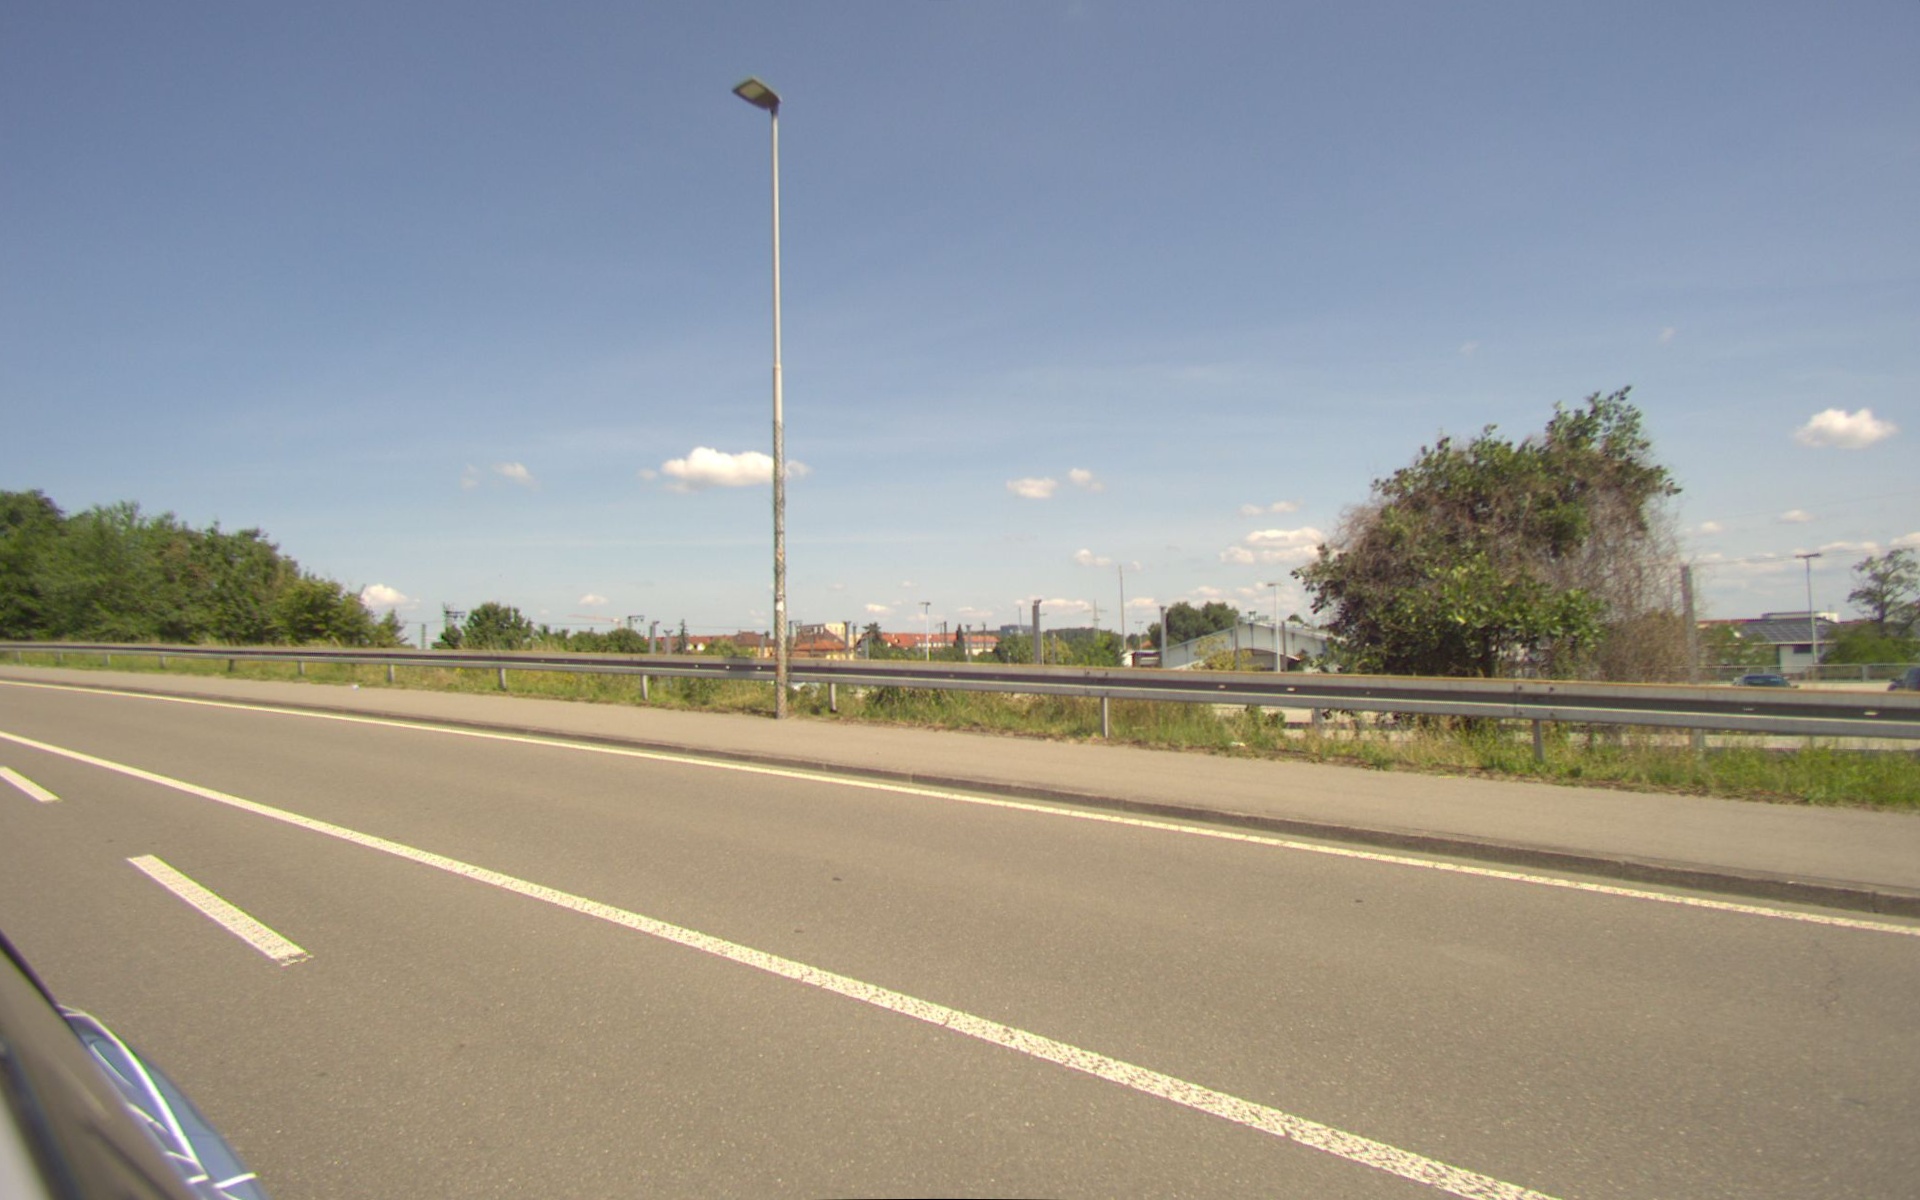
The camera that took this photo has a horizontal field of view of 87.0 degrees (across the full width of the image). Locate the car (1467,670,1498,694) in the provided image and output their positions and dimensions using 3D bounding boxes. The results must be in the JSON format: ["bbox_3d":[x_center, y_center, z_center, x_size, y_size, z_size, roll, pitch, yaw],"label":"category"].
[{"bbox_3d":[35.735,5.598,69.175,1.687,1.401,3.773,-4,-3,30],"label":"car"}]

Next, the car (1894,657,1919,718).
[{"bbox_3d":[33.830,3.006,34.667,1.994,2.029,3.955,-1,-3,33],"label":"car"}]
